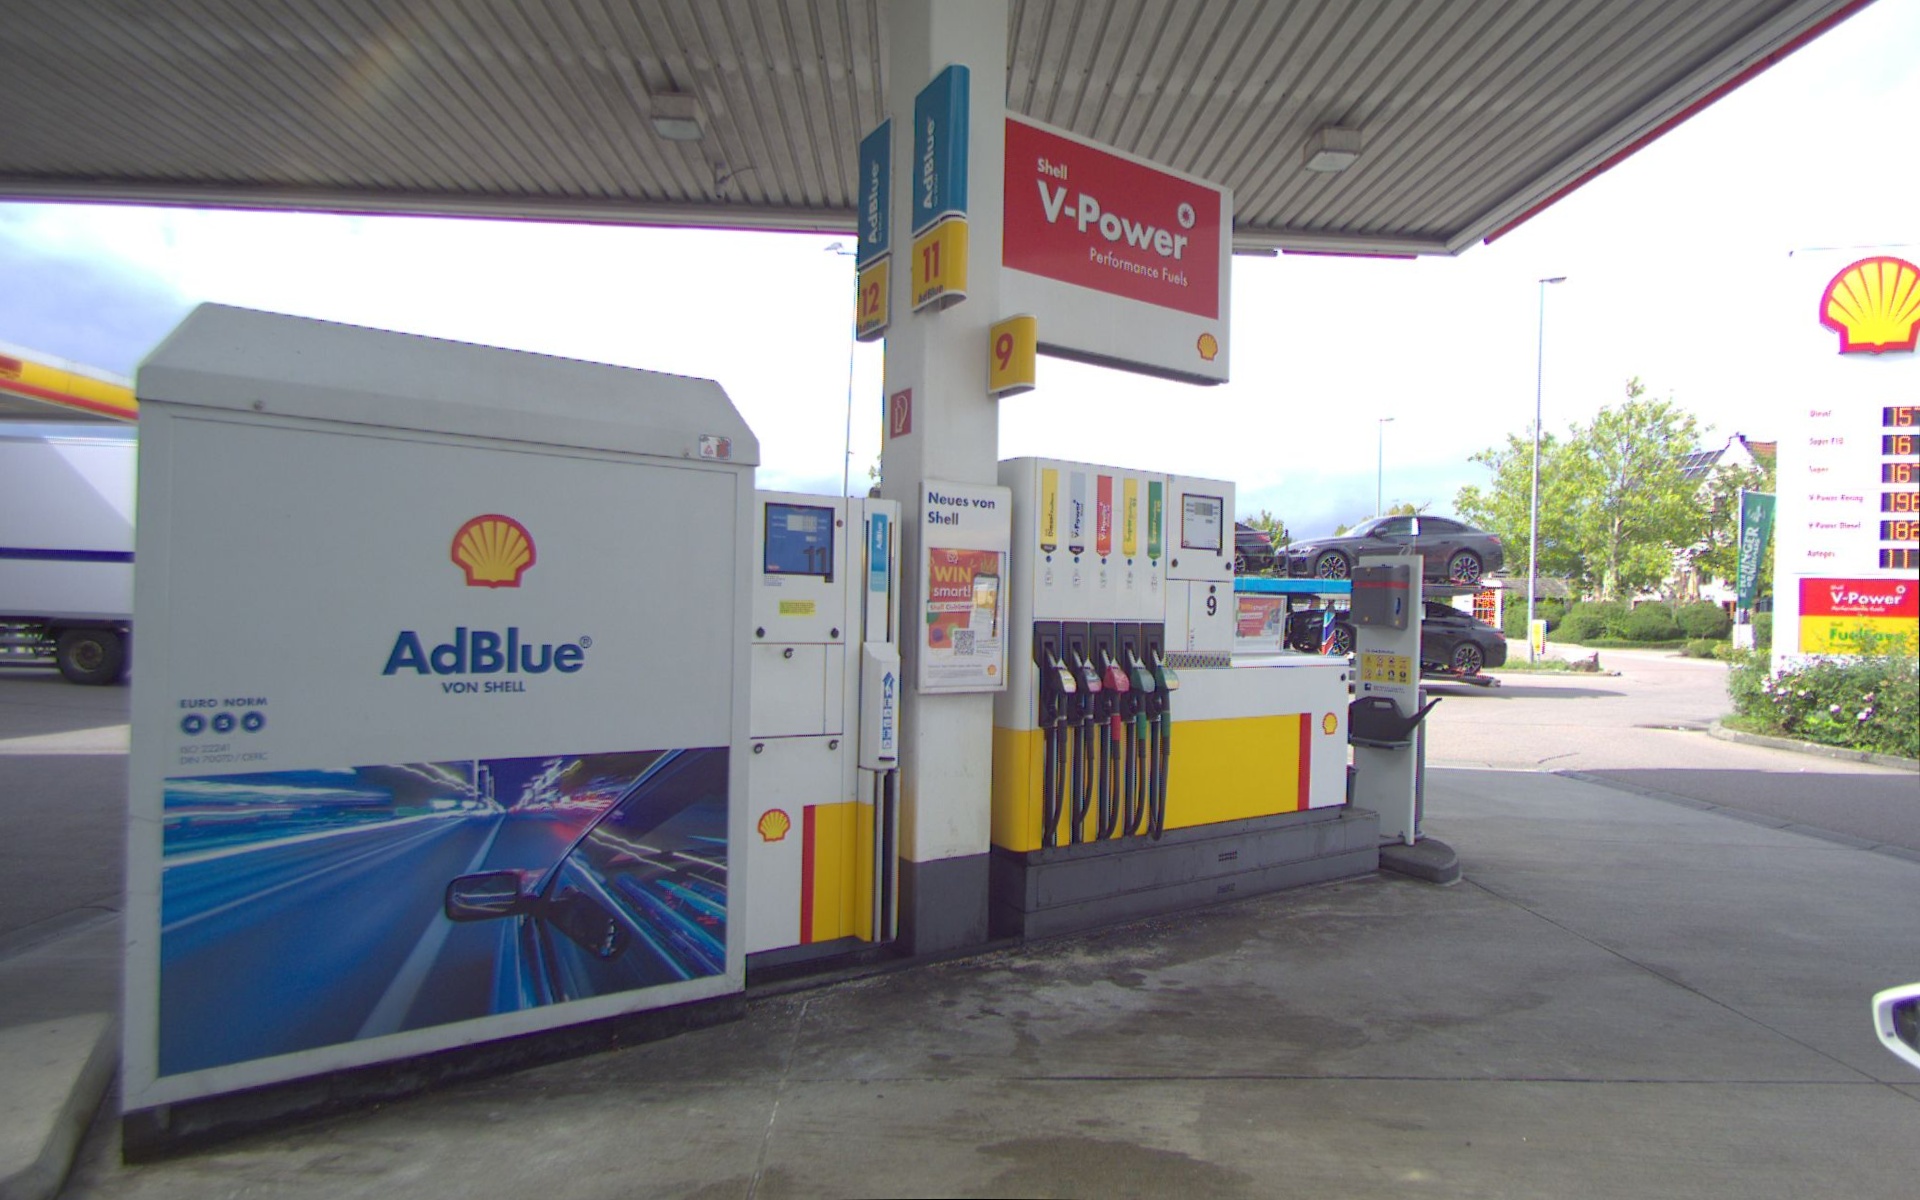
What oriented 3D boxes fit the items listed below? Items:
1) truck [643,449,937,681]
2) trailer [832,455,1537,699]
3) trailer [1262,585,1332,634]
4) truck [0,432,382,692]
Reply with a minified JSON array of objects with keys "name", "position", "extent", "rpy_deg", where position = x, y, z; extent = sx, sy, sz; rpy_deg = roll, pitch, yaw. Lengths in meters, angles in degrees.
[{"name":"truck","position":[-3.439,-0.693,21.548],"extent":[5.713,4.479,2.750],"rpy_deg":[2,0,0]},{"name":"trailer","position":[4.536,-0.458,21.587],"extent":[14.077,4.481,2.746],"rpy_deg":[2,0,0]},{"name":"trailer","position":[28.681,0.828,86.169],"extent":[2.684,3.826,12.718],"rpy_deg":[2,0,5]},{"name":"truck","position":[-17.291,-0.726,17.503],"extent":[12.654,4.092,2.534],"rpy_deg":[2,0,-3]}]
